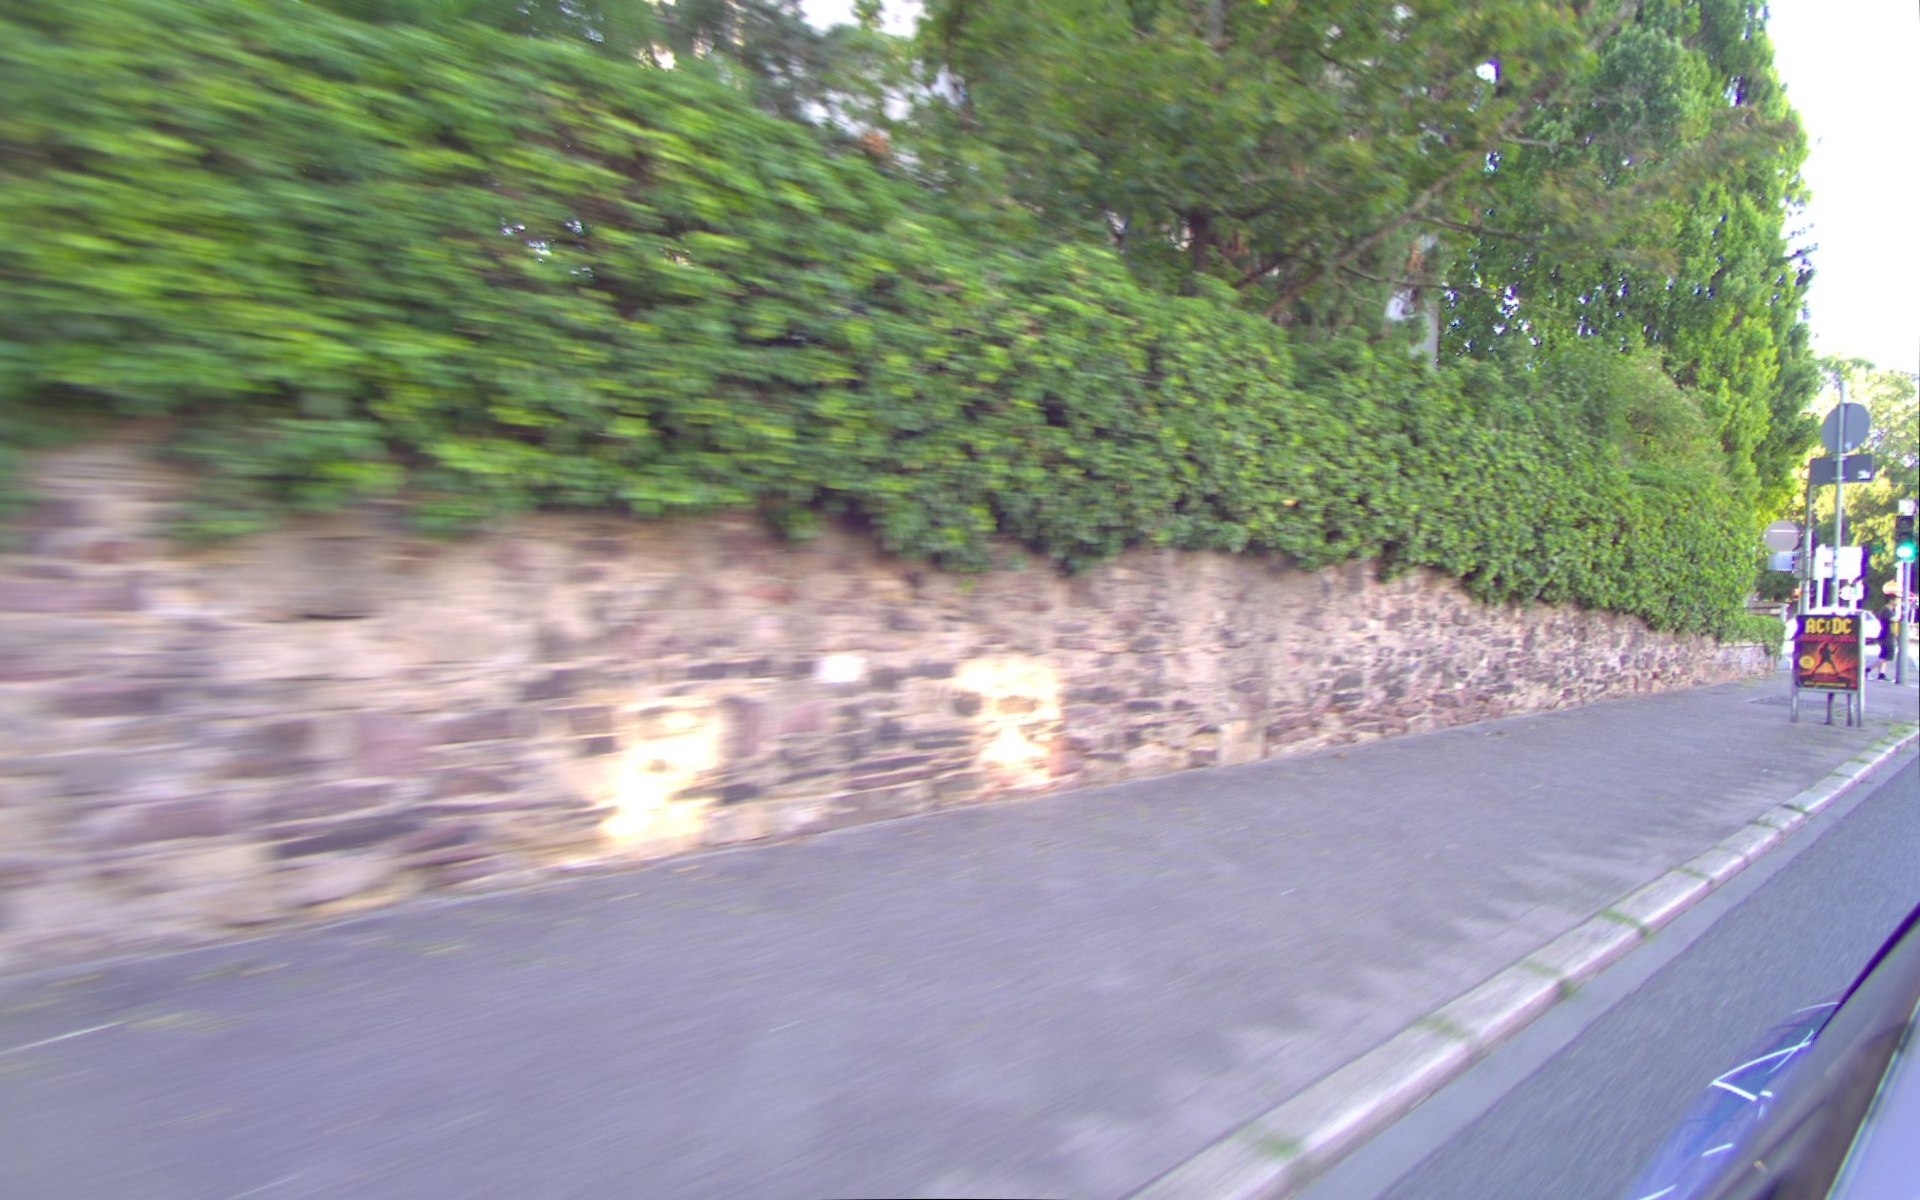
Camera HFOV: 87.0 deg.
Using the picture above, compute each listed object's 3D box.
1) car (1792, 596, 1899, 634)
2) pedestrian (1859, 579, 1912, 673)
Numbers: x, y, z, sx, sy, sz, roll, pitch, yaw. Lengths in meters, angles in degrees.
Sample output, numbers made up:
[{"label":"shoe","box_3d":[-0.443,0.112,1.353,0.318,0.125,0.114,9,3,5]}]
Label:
[{"label":"car","box_3d":[38.912,0.642,44.607,1.753,1.562,3.986,1,0,11]},{"label":"pedestrian","box_3d":[17.378,0.483,19.007,0.601,1.714,0.603,2,1,-41]}]
